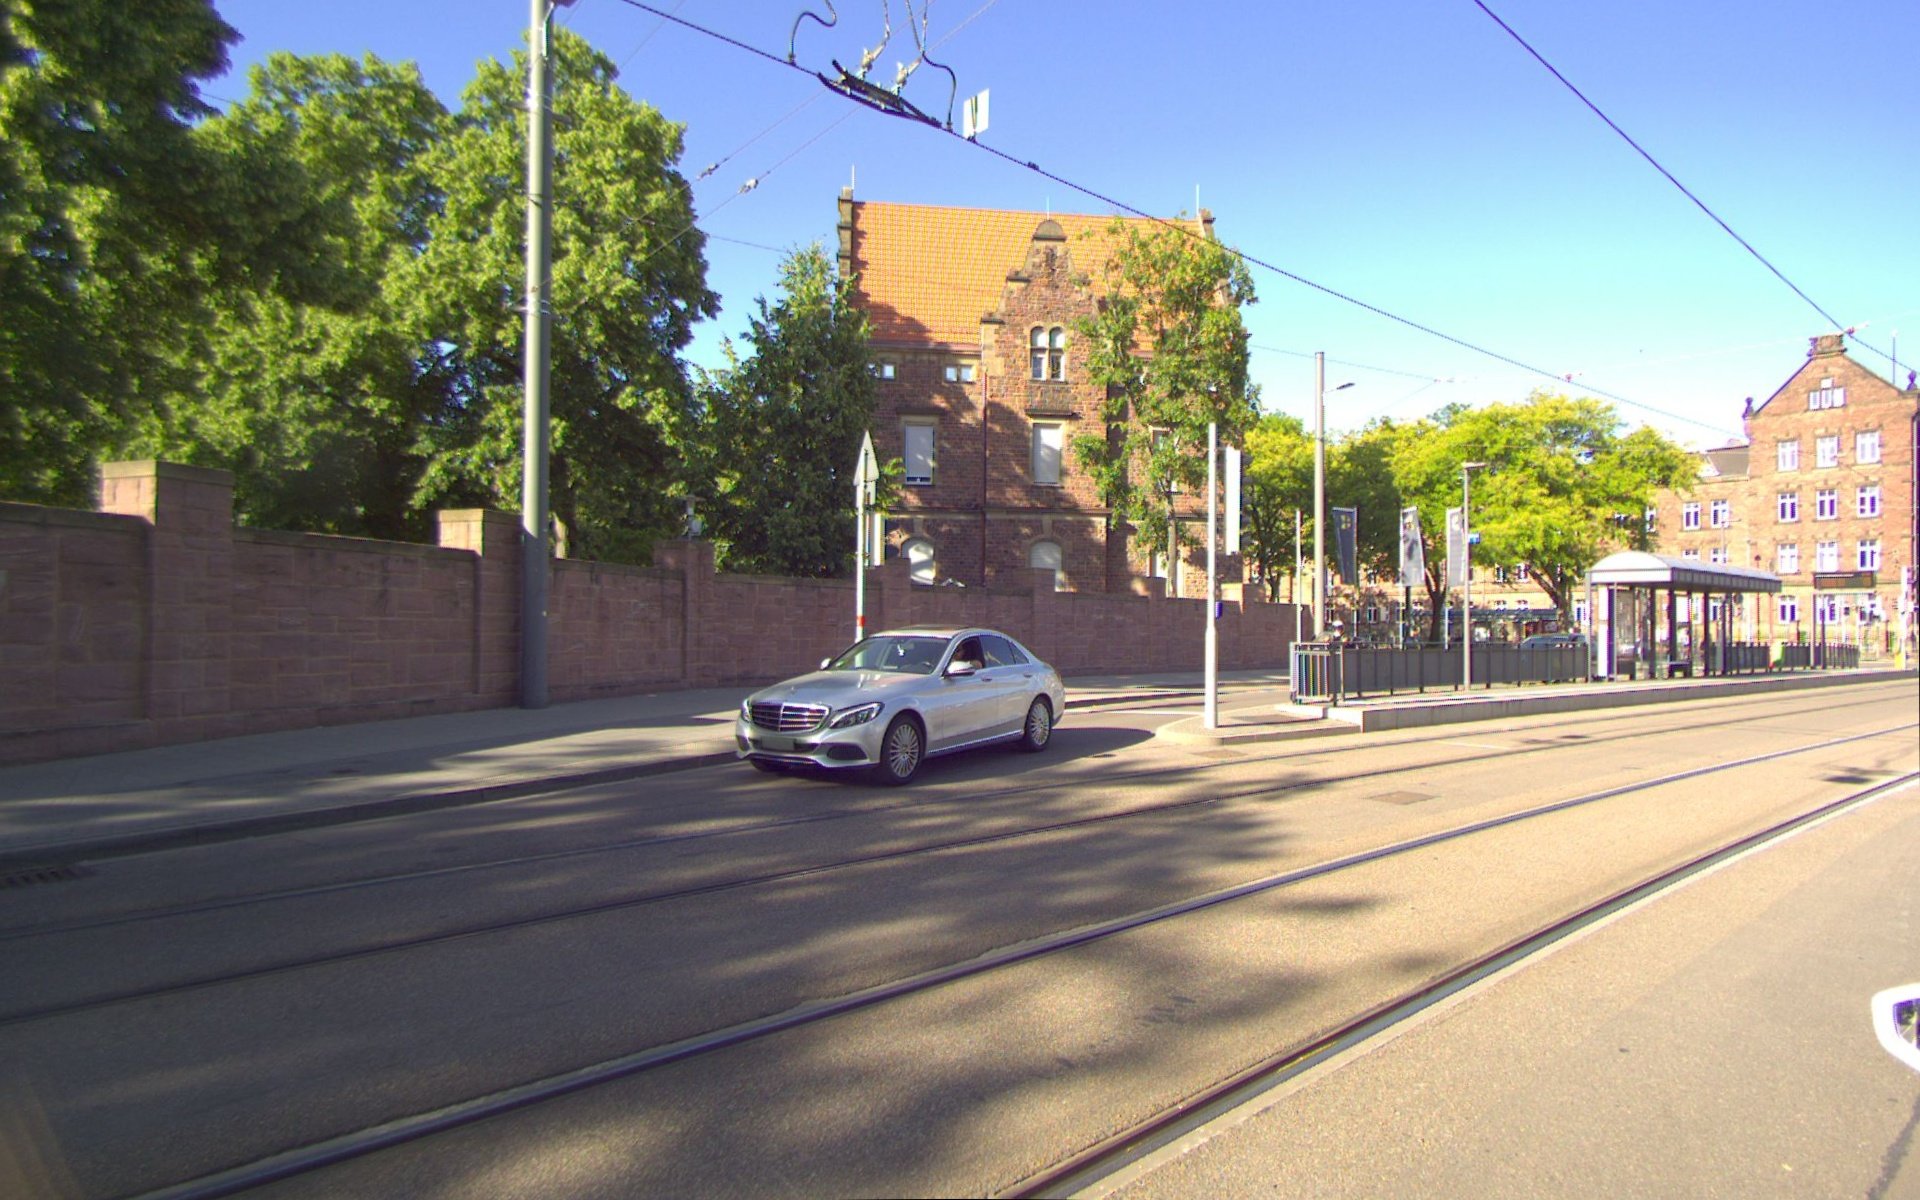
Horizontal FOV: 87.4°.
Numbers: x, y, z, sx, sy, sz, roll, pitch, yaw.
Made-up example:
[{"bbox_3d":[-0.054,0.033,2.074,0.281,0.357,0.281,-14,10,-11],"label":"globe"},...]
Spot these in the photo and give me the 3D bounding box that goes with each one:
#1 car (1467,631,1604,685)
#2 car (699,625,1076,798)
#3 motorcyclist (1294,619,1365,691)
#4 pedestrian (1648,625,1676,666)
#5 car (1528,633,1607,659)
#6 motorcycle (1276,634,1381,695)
[{"bbox_3d":[16.716,1.727,29.154,3.941,1.421,1.845,4,-7,-34],"label":"car"},{"bbox_3d":[-0.512,1.007,11.028,1.856,1.434,4.615,-1,-1,30],"label":"car"},{"bbox_3d":[8.260,1.219,22.471,1.047,1.545,1.115,2,-1,-40],"label":"motorcyclist"},{"bbox_3d":[33.186,2.162,47.464,1.085,1.885,0.722,2,-1,-34],"label":"pedestrian"},{"bbox_3d":[39.775,3.005,65.828,1.858,1.542,4.040,2,-1,-33],"label":"car"},{"bbox_3d":[8.275,1.423,22.487,2.553,1.260,1.120,2,-1,-41],"label":"motorcycle"}]
